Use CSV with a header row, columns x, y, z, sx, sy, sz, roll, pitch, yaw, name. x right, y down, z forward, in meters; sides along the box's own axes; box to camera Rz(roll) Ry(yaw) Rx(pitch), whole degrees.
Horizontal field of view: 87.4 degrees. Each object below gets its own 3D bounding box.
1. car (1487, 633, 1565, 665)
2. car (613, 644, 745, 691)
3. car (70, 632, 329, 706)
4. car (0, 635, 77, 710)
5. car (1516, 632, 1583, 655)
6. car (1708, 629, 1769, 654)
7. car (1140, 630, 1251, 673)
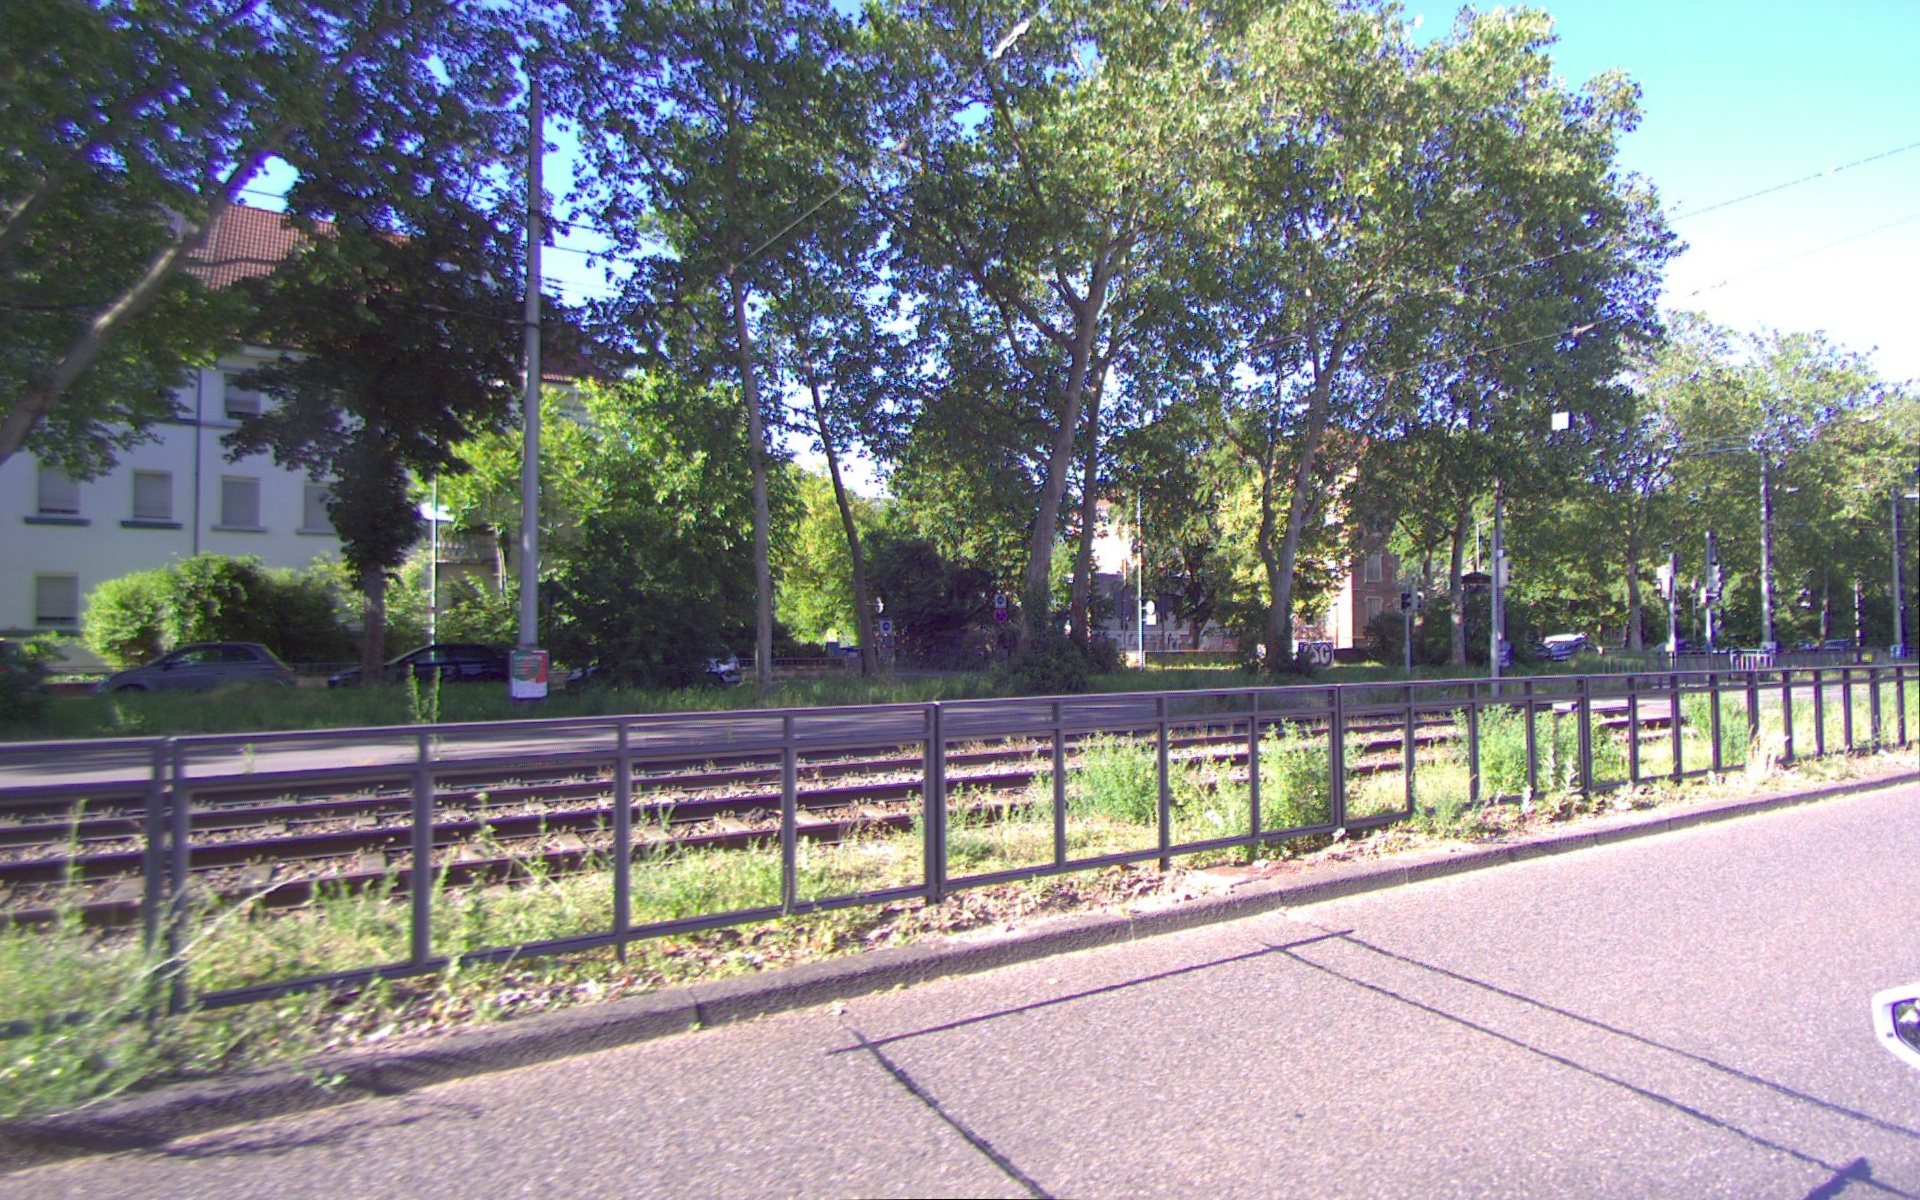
x,y,z,sx,sy,sz,roll,pitch,yaw,name
28.166,2.427,49.954,4.099,1.529,1.660,1,-2,-32,car
-7.617,1.793,27.261,3.184,1.131,1.463,1,-2,-34,car
-16.345,1.442,21.905,4.267,1.460,1.776,1,-2,-30,car
-20.276,1.429,19.615,4.267,1.459,1.727,1,-2,-30,car
41.439,3.044,70.691,1.375,1.514,3.974,0,-2,-26,car
48.226,2.541,62.184,4.099,1.529,1.660,1,-1,-32,car
8.865,1.900,37.663,4.099,1.529,1.660,1,-2,-32,car
